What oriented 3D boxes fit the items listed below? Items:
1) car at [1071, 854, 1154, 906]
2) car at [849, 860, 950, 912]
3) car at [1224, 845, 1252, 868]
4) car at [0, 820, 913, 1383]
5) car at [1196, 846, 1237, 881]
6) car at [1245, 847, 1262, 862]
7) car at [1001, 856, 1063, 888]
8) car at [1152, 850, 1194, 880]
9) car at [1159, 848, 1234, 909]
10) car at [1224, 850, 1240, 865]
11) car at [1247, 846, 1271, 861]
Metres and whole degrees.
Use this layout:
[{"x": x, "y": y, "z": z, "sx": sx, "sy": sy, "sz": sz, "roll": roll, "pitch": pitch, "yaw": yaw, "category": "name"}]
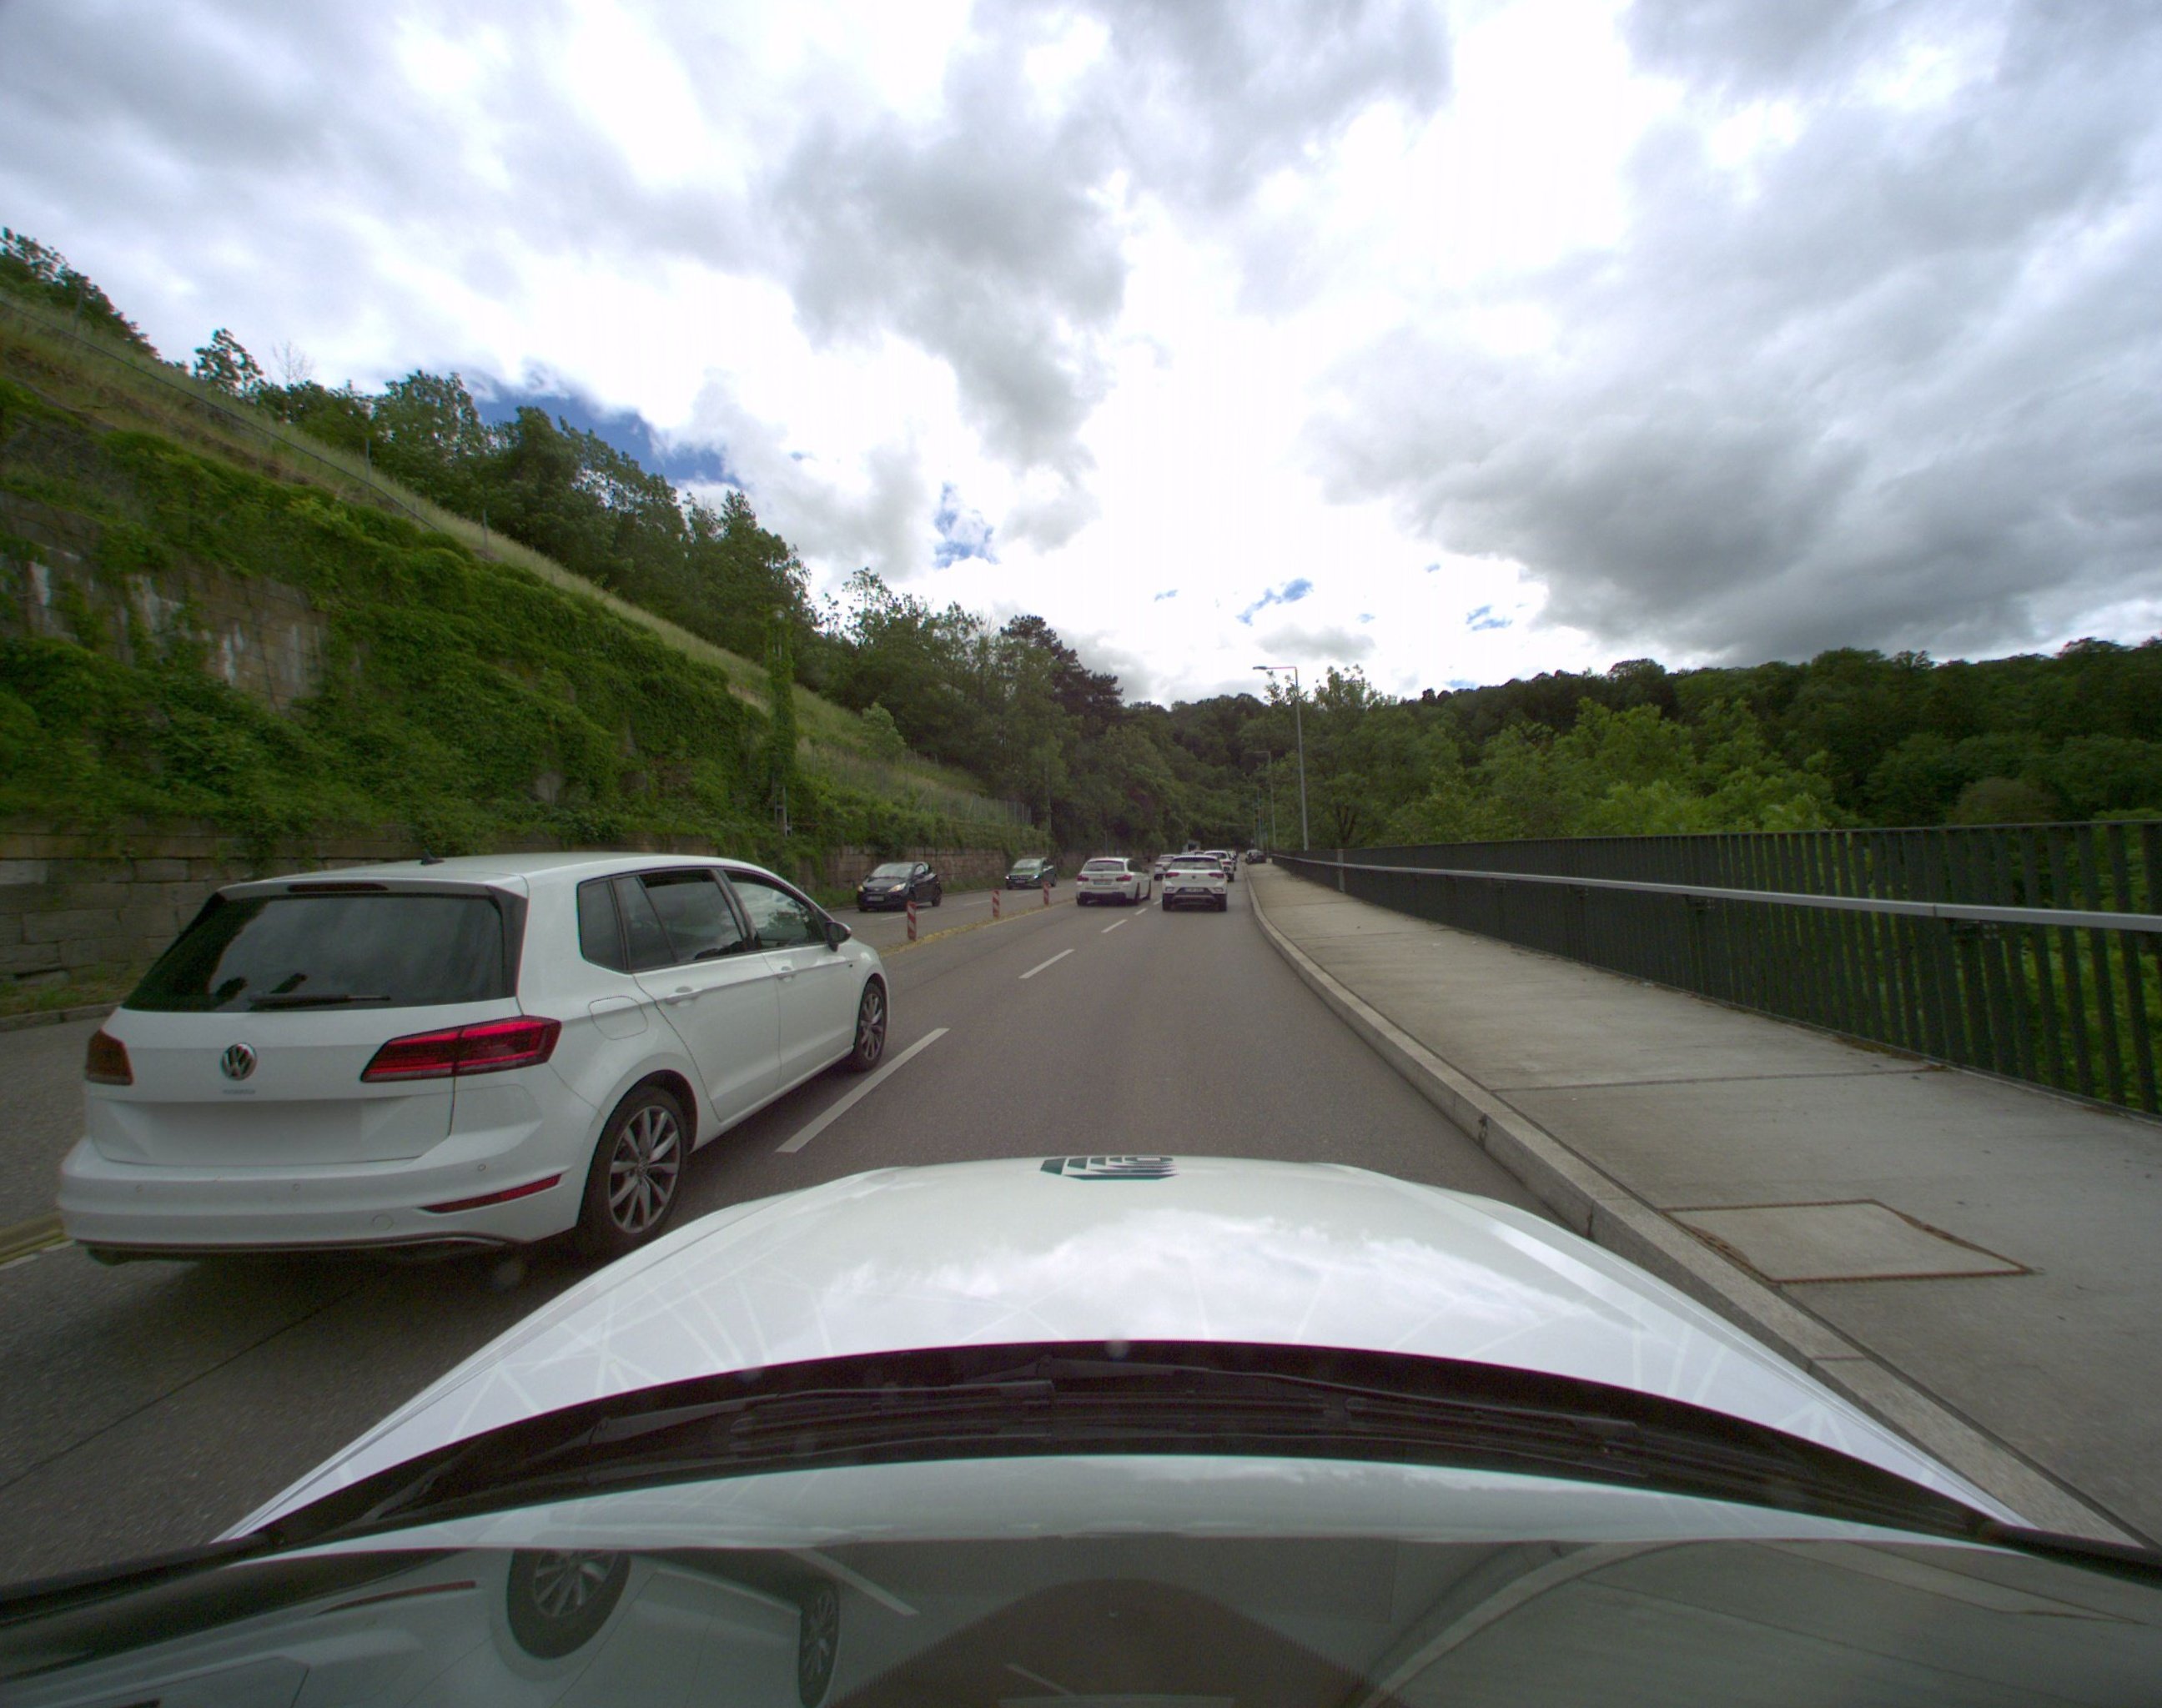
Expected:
[{"x": 1.101, "y": 0.758, "z": 25.702, "sx": 1.815, "sy": 1.459, "sz": 4.501, "roll": -1, "pitch": 0, "yaw": 12, "category": "car"}, {"x": -5.452, "y": 0.914, "z": 24.964, "sx": 1.697, "sy": 1.442, "sz": 4.009, "roll": -1, "pitch": 0, "yaw": 8, "category": "car"}, {"x": 12.208, "y": 0.168, "z": 63.490, "sx": 1.982, "sy": 1.717, "sz": 4.010, "roll": -1, "pitch": 0, "yaw": 9, "category": "car"}, {"x": -2.459, "y": 0.734, "z": 4.525, "sx": 1.813, "sy": 1.580, "sz": 4.361, "roll": -1, "pitch": -1, "yaw": 4, "category": "car"}, {"x": 7.239, "y": 0.469, "z": 43.240, "sx": 1.980, "sy": 1.718, "sz": 4.128, "roll": 0, "pitch": 1, "yaw": 12, "category": "car"}, {"x": 21.168, "y": 0.086, "z": 99.932, "sx": 1.980, "sy": 1.718, "sz": 4.127, "roll": -1, "pitch": 1, "yaw": 11, "category": "car"}, {"x": -2.409, "y": 0.860, "z": 41.047, "sx": 1.837, "sy": 1.515, "sz": 4.351, "roll": -1, "pitch": 0, "yaw": 15, "category": "car"}, {"x": 5.373, "y": 0.592, "z": 47.229, "sx": 1.981, "sy": 1.503, "sz": 4.683, "roll": -1, "pitch": 1, "yaw": 11, "category": "car"}, {"x": 3.426, "y": 0.657, "z": 23.551, "sx": 1.815, "sy": 1.606, "sz": 4.013, "roll": 0, "pitch": -1, "yaw": 12, "category": "car"}, {"x": 19.883, "y": 0.444, "z": 107.281, "sx": 1.981, "sy": 1.860, "sz": 4.011, "roll": -2, "pitch": -1, "yaw": 10, "category": "car"}, {"x": 17.888, "y": -0.059, "z": 81.976, "sx": 1.806, "sy": 1.508, "sz": 4.006, "roll": -1, "pitch": 0, "yaw": 5, "category": "car"}]
